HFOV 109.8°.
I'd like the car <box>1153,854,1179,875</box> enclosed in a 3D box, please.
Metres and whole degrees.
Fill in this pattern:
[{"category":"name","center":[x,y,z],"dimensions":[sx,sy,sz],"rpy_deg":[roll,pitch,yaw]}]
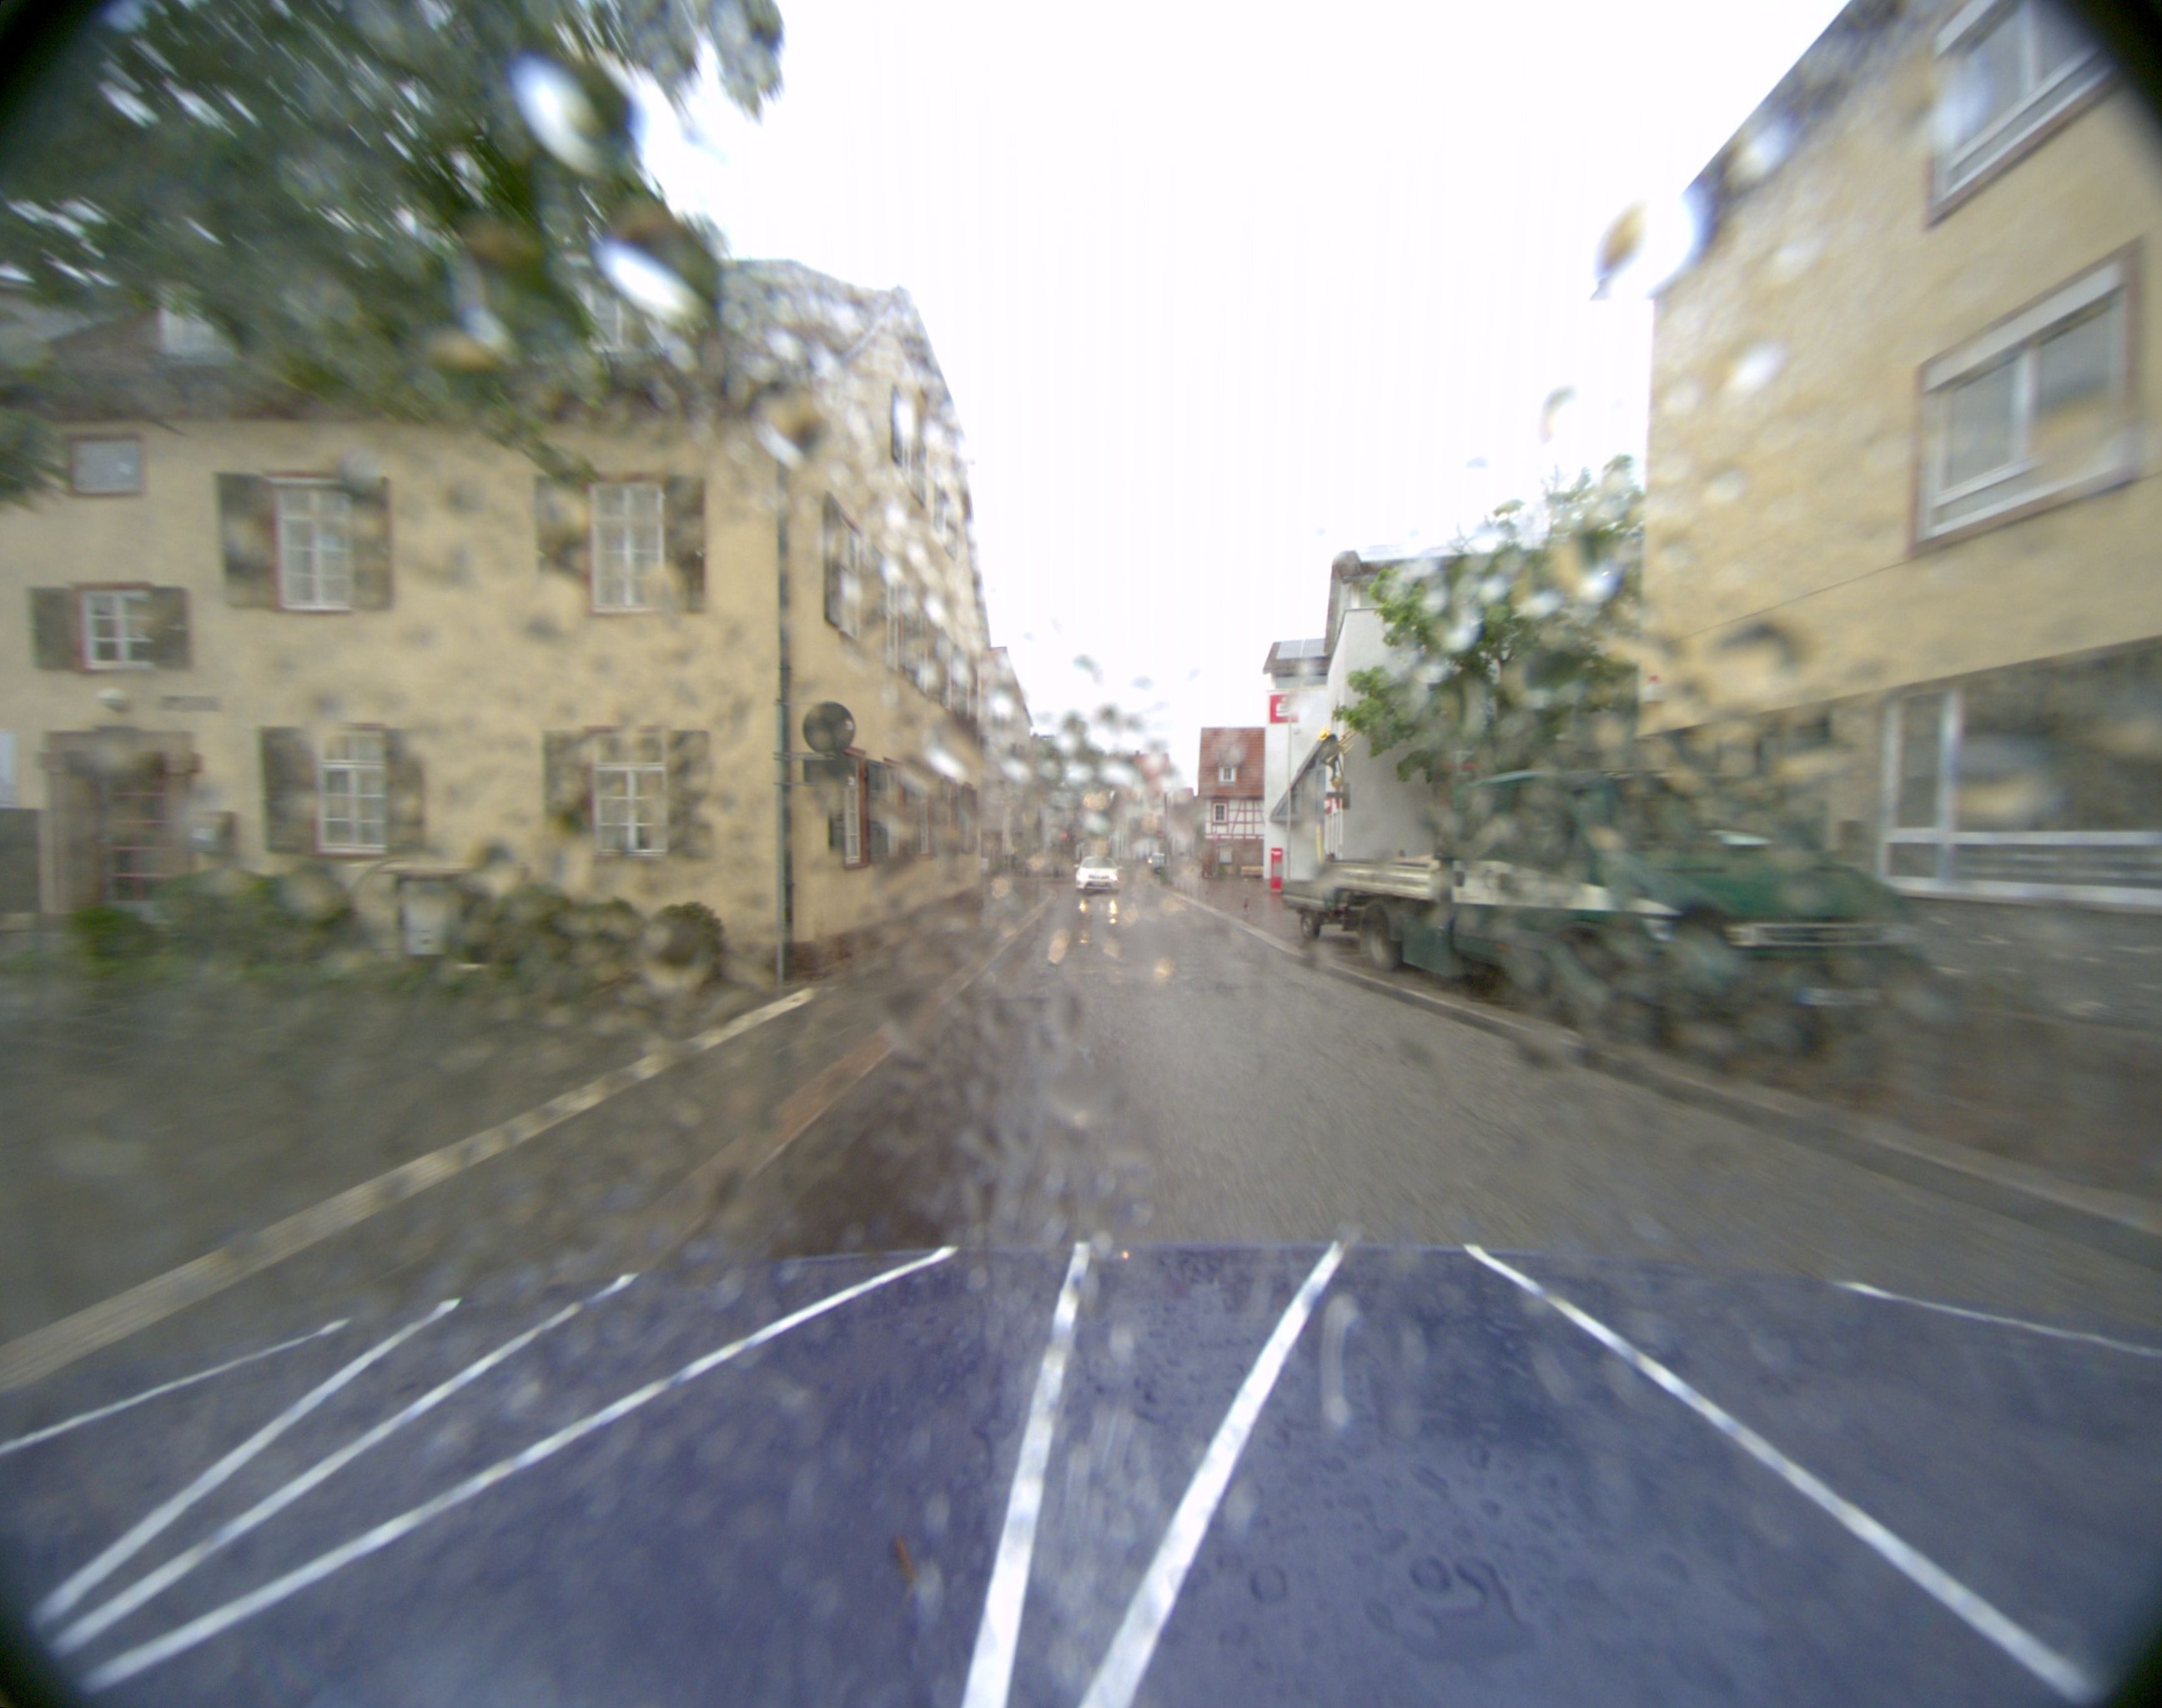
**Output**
[{"category":"car","center":[6.328,0.790,56.599],"dimensions":[1.806,1.434,4.001],"rpy_deg":[0,1,6]}]

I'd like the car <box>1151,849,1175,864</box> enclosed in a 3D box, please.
[{"category":"car","center":[8.748,0.270,80.772],"dimensions":[1.865,1.452,4.005],"rpy_deg":[2,1,17]}]

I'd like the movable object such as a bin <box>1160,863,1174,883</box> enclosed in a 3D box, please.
[{"category":"movable object such as a bin","center":[4.597,0.999,40.717],"dimensions":[0.697,1.045,0.645],"rpy_deg":[2,1,2]}]

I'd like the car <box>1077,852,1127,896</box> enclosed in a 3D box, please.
[{"category":"car","center":[0.855,0.756,31.190],"dimensions":[1.867,1.577,4.614],"rpy_deg":[1,1,1]}]

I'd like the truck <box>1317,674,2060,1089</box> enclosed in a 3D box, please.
[{"category":"truck","center":[4.874,0.258,8.039],"dimensions":[2.406,2.579,6.482],"rpy_deg":[0,-1,-4]}]

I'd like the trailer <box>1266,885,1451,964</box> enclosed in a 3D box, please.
[{"category":"trailer","center":[4.488,1.100,12.772],"dimensions":[1.858,1.118,3.019],"rpy_deg":[0,-1,-4]}]

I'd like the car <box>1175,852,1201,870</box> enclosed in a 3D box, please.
[{"category":"car","center":[9.599,0.595,67.880],"dimensions":[1.804,1.434,4.004],"rpy_deg":[0,1,16]}]

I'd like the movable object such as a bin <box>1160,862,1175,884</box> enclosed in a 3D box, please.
[{"category":"movable object such as a bin","center":[4.558,0.993,39.962],"dimensions":[0.697,1.071,0.645],"rpy_deg":[-2,1,2]}]
